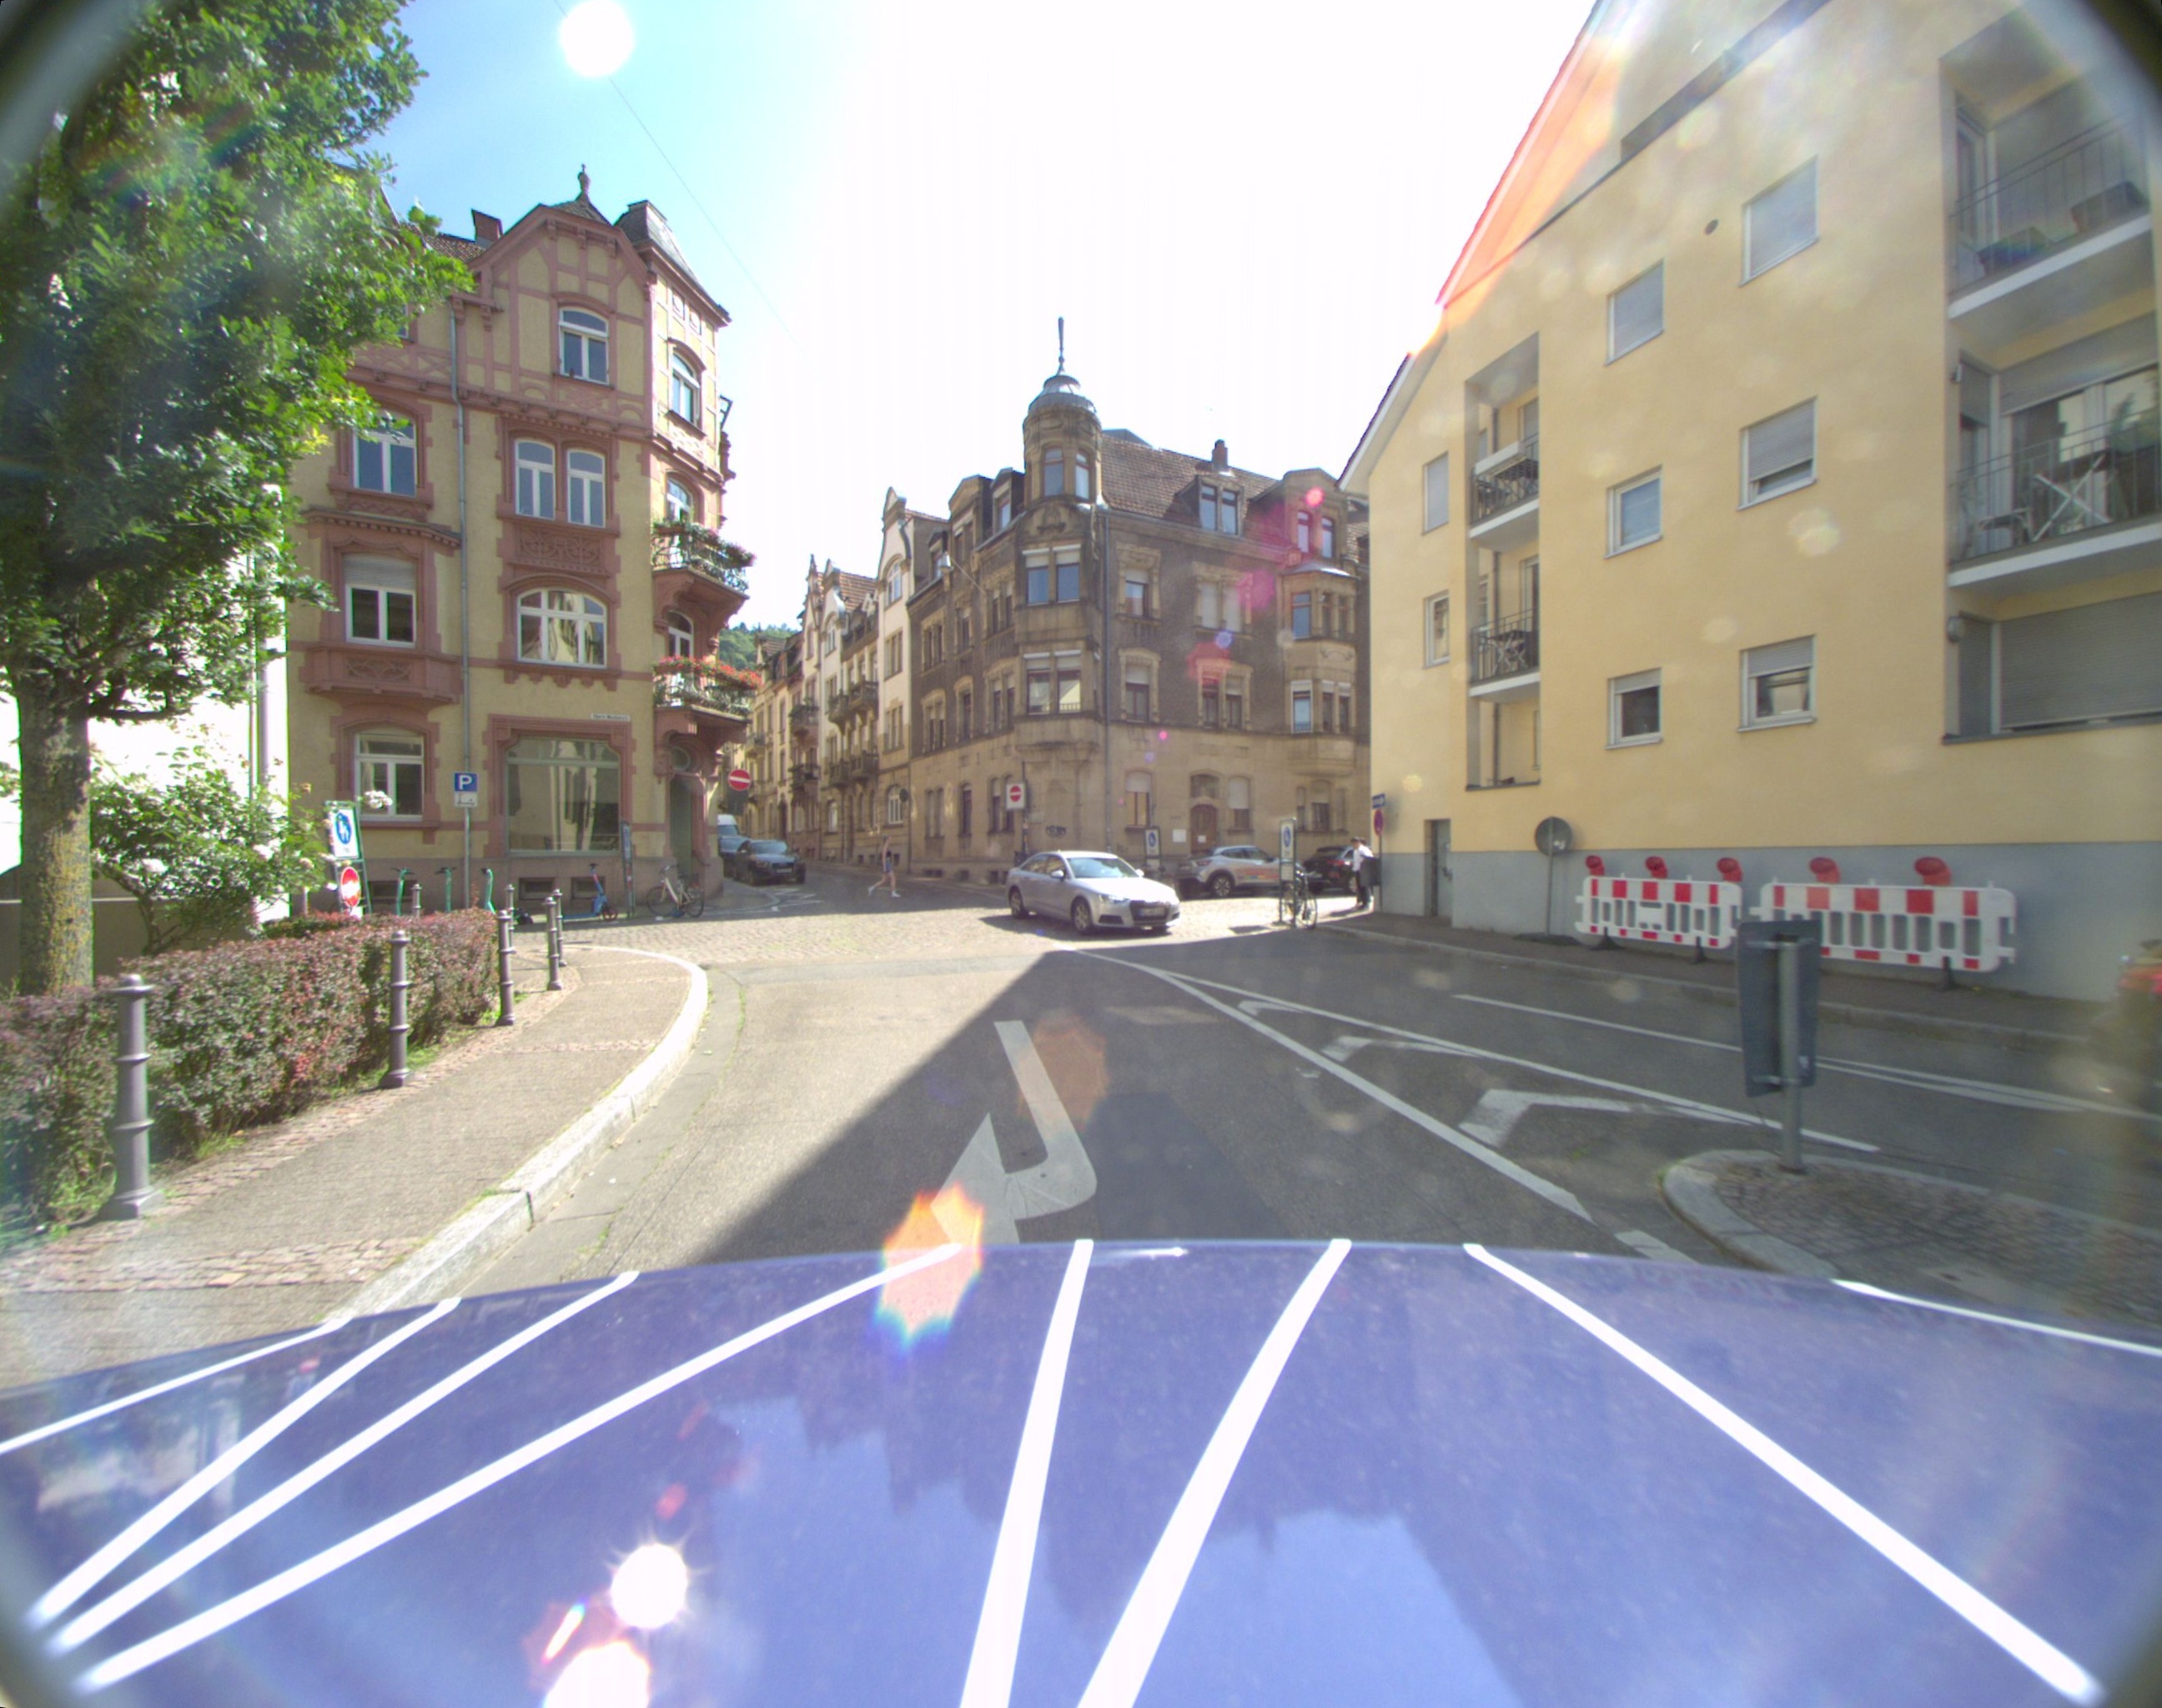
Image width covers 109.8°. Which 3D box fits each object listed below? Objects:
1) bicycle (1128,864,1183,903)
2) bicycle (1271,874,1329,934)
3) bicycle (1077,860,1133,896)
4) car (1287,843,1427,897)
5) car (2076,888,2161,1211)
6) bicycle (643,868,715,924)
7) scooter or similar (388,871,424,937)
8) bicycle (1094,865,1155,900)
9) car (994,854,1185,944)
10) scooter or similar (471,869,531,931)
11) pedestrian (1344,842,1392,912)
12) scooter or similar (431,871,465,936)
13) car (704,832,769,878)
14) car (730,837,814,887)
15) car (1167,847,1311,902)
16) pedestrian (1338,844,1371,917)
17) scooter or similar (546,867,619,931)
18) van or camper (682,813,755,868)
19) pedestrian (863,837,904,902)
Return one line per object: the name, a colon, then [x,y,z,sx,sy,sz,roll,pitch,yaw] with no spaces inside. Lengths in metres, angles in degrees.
bicycle: [2.089,0.839,21.466,1.638,1.079,0.286,-3,-3,38]
bicycle: [4.392,0.969,15.335,0.392,1.073,1.908,0,0,-7]
bicycle: [0.748,0.736,23.636,1.644,1.080,0.495,0,5,-25]
car: [8.810,0.474,24.236,4.004,1.535,1.849,-2,0,-24]
car: [6.634,0.917,1.944,1.722,1.453,4.714,2,-1,-27]
bicycle: [-8.881,0.894,16.756,1.788,1.139,0.506,1,1,29]
scooter or similar: [-12.957,0.934,14.579,1.187,1.202,0.343,0,1,41]
bicycle: [1.237,0.807,21.835,1.638,1.083,0.285,1,46,54]
car: [-0.010,0.750,15.013,1.880,1.483,4.372,-1,0,-29]
scooter or similar: [-11.663,0.918,15.270,1.188,1.202,0.343,0,1,19]
pedestrian: [6.748,0.531,17.870,0.757,1.608,0.689,-1,1,-22]
scooter or similar: [-12.475,0.943,14.962,0.414,1.202,1.231,-1,1,-44]
car: [-14.550,-0.034,31.952,1.764,1.697,3.988,-4,4,-34]
car: [-11.331,0.229,27.664,1.865,1.574,4.247,-3,3,-35]
car: [4.745,0.557,22.869,3.933,1.535,1.849,0,1,-25]
pedestrian: [6.202,0.590,17.231,0.491,1.609,0.658,1,2,41]
scooter or similar: [-10.105,0.897,15.415,1.193,1.228,0.441,-1,1,-38]
van or camper: [-18.356,-0.770,38.278,2.231,2.506,6.747,0,3,-35]
pedestrian: [-5.513,0.404,21.220,0.982,1.749,0.621,-1,5,-26]
